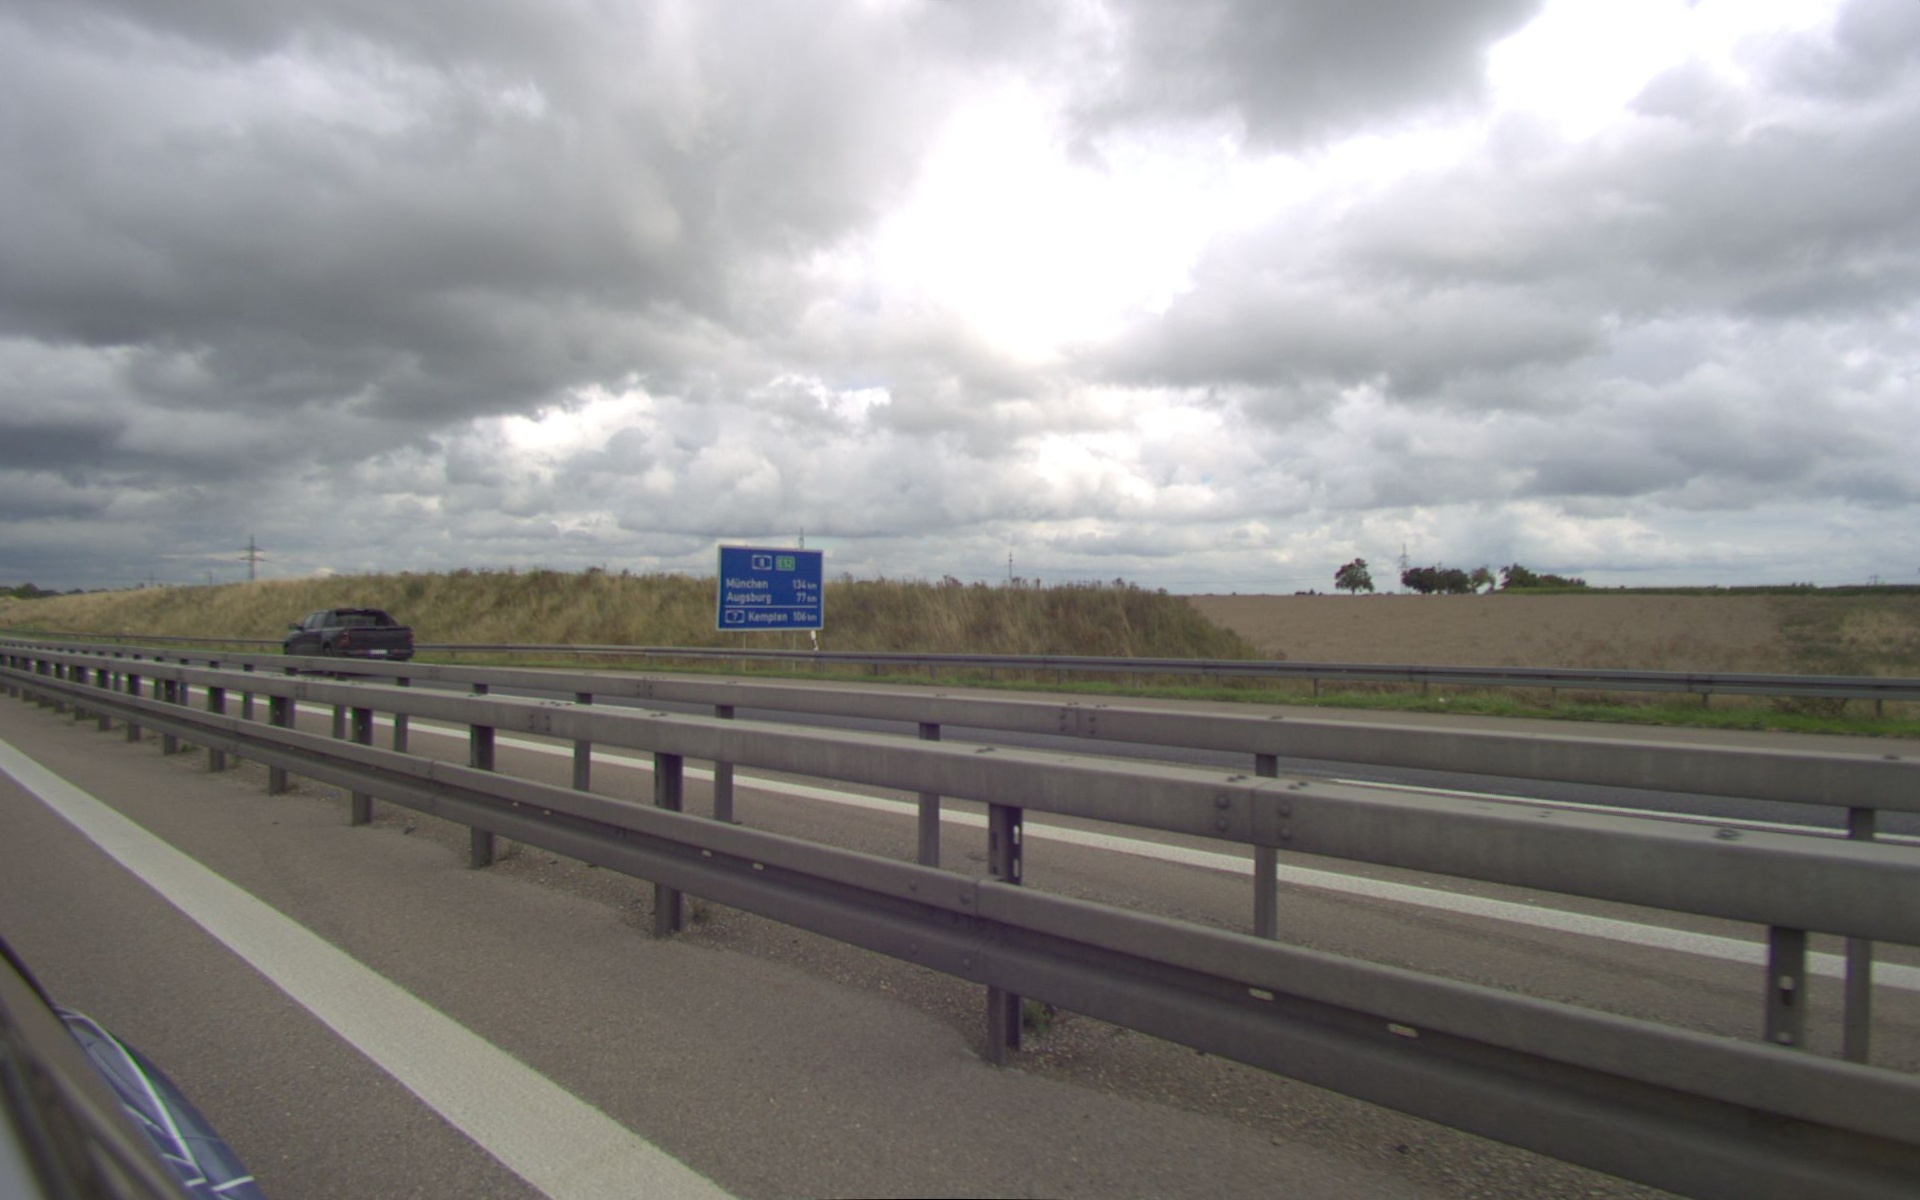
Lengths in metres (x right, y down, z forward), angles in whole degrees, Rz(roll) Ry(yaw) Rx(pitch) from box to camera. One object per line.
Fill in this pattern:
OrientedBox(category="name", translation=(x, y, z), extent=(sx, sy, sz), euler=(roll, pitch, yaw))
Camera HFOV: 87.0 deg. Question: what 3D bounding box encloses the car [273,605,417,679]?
OrientedBox(category="car", translation=(-18.611, 1.232, 30.477), extent=(6.098, 2.029, 1.973), euler=(-2, -2, 41))
